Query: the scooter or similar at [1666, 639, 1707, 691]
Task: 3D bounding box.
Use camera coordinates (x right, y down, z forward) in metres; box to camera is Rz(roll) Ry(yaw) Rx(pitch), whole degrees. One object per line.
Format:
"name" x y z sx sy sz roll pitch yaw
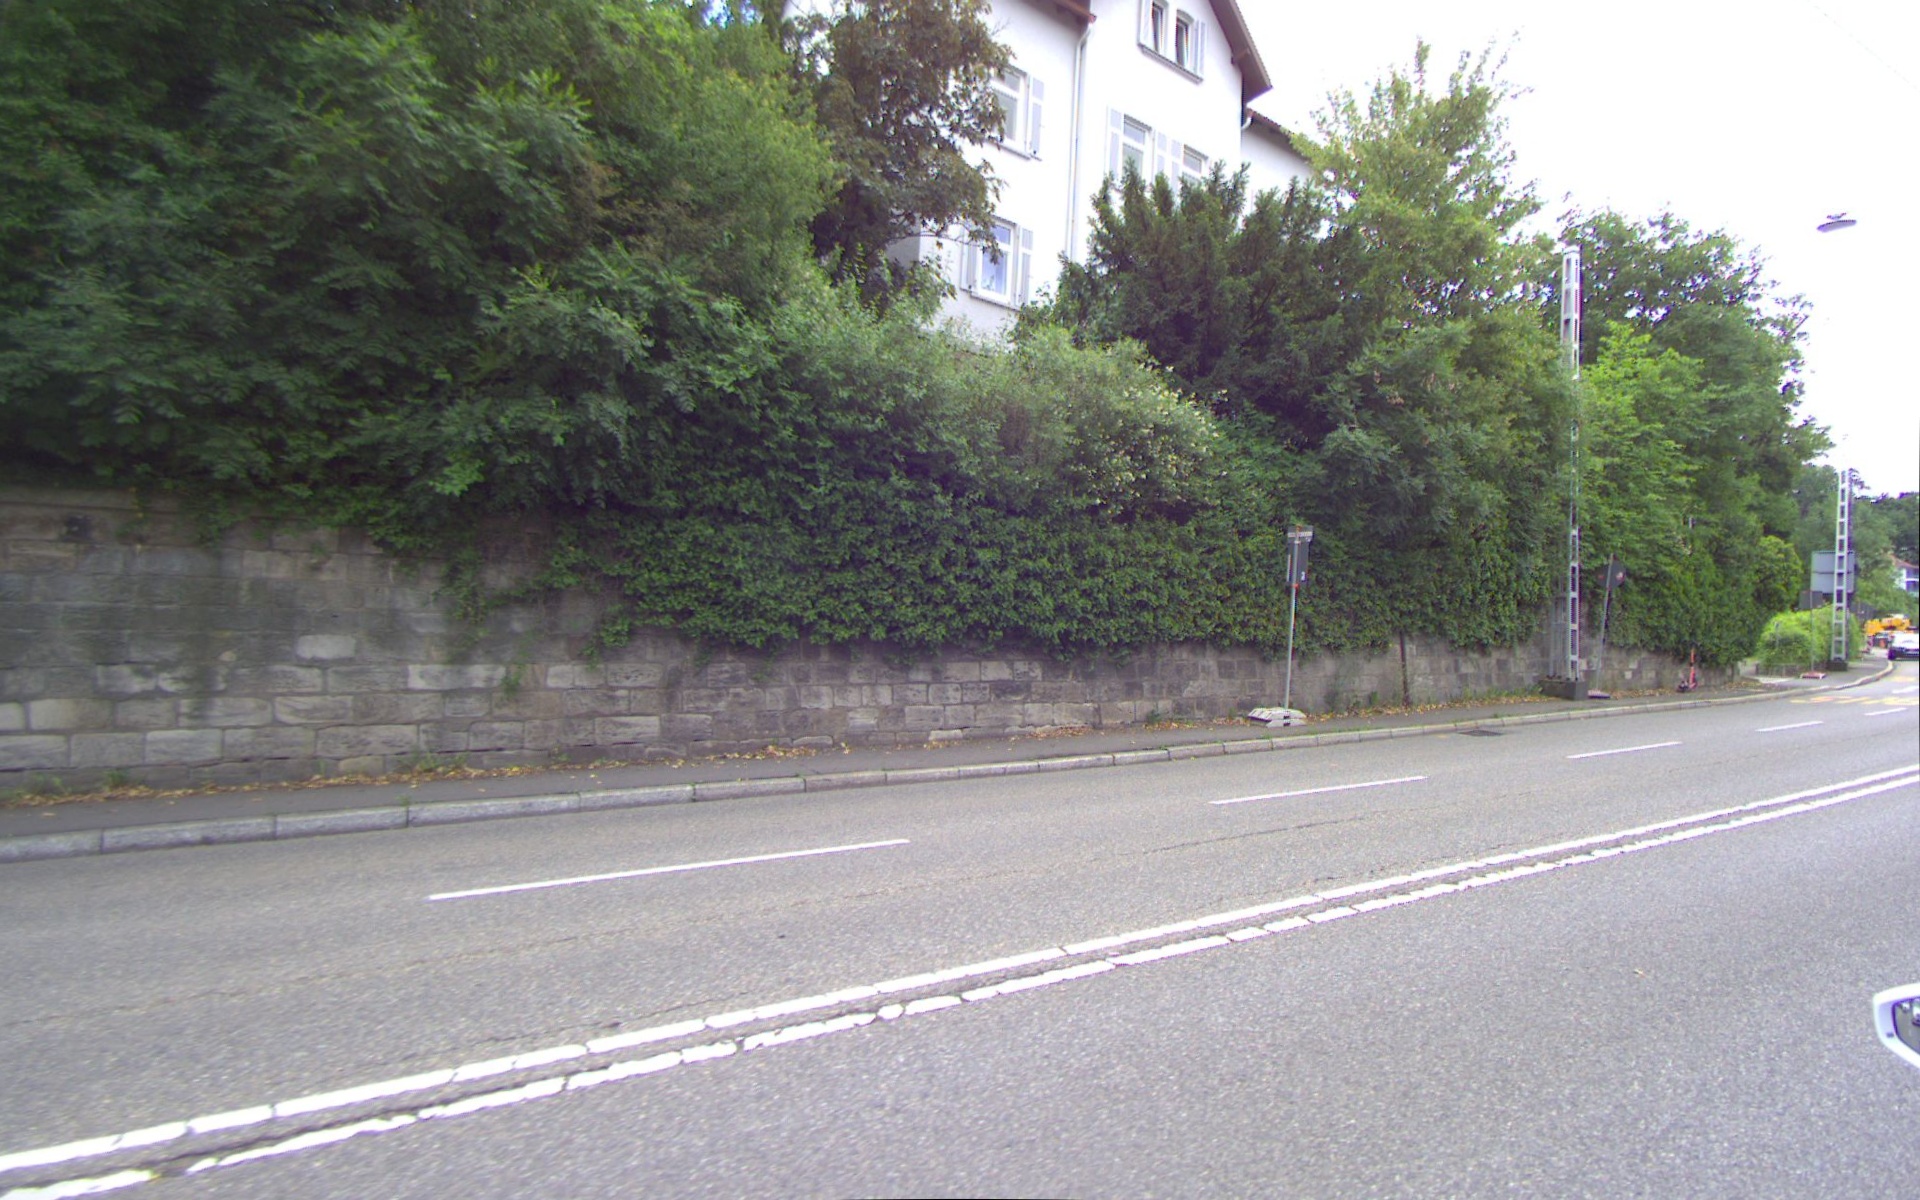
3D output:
"scooter or similar" 17.867 1.584 24.696 1.270 1.221 0.532 1 1 -42

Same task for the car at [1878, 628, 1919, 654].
"car" 51.928 2.235 55.269 1.873 1.400 3.981 -2 -2 40

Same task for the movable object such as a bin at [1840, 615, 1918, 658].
"movable object such as a bin" 82.695 3.270 90.541 3.480 3.748 7.482 -1 -2 29
